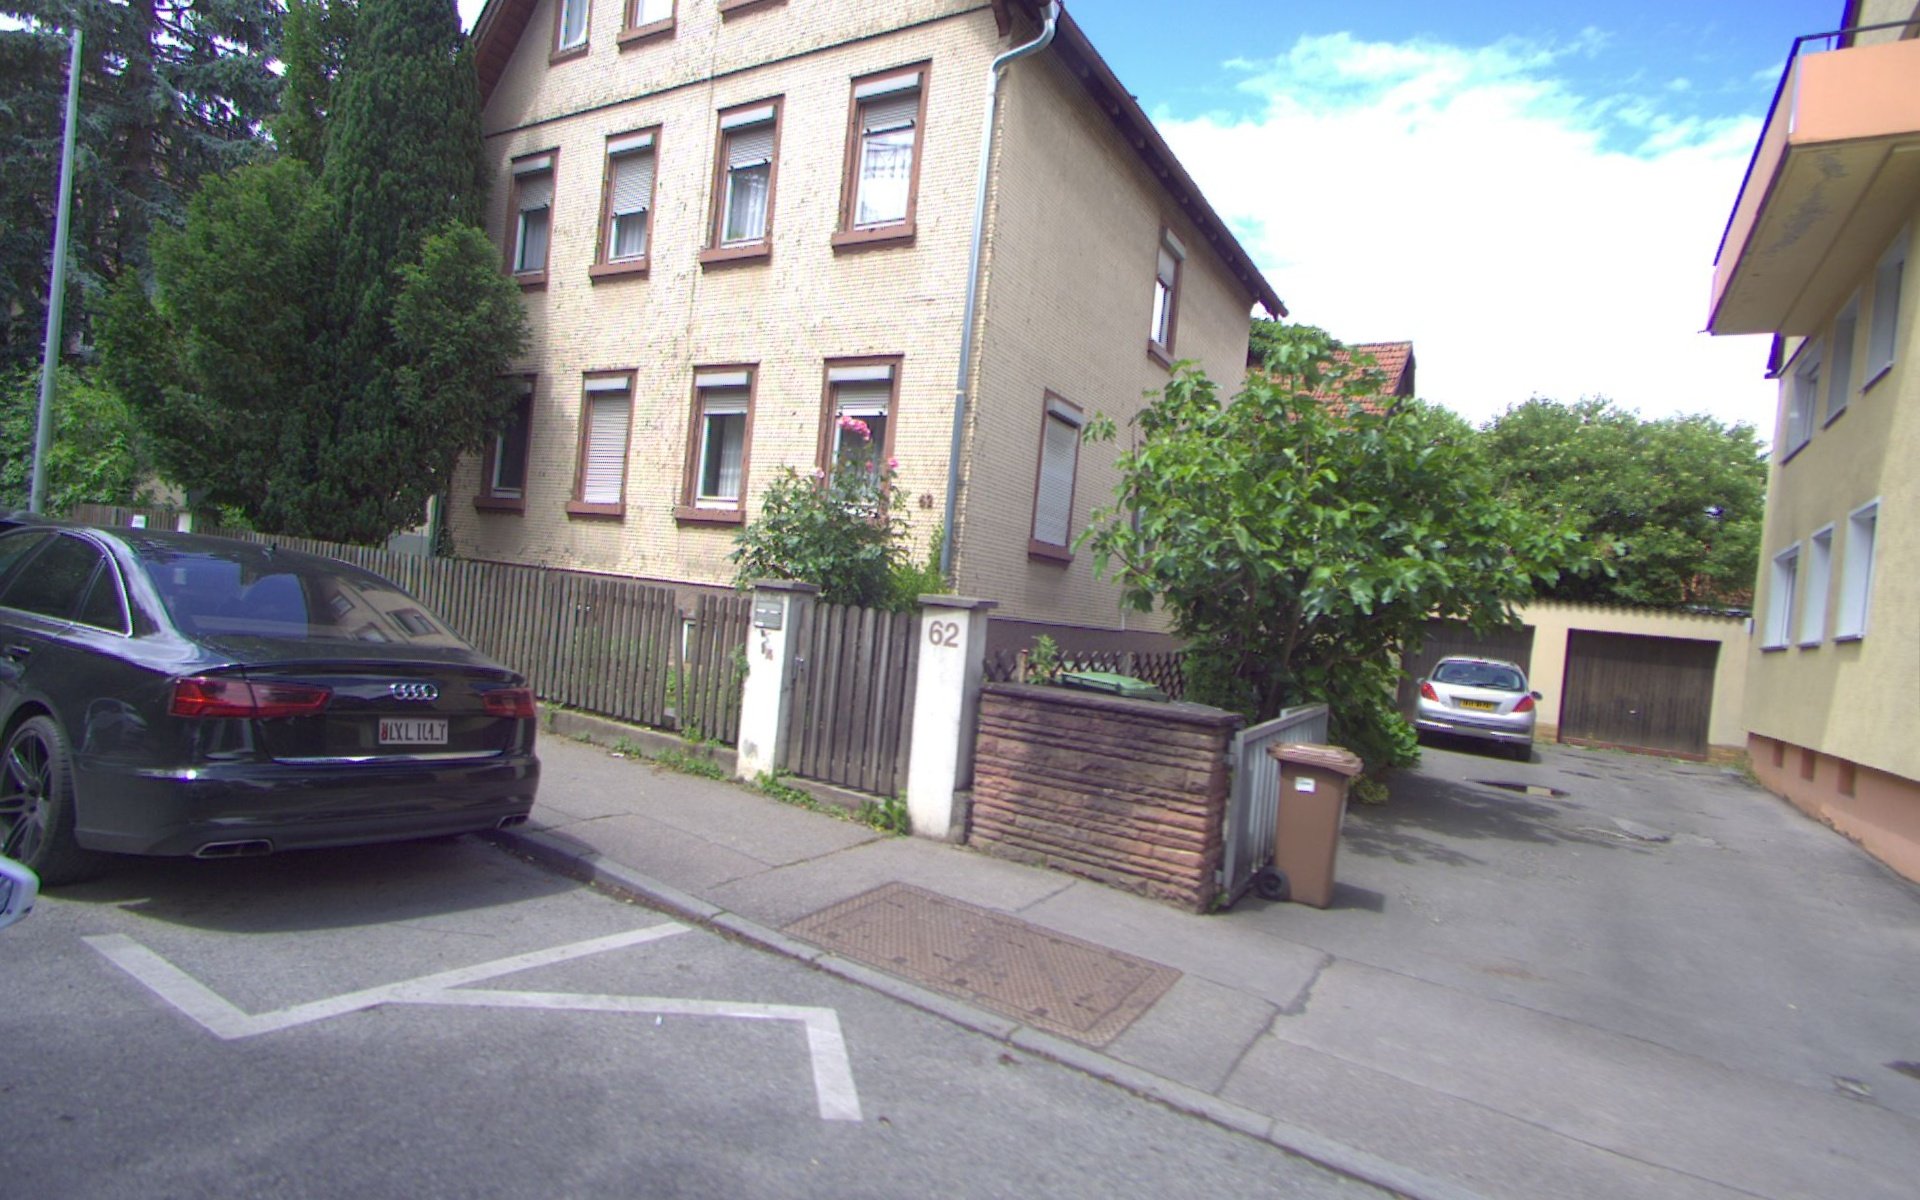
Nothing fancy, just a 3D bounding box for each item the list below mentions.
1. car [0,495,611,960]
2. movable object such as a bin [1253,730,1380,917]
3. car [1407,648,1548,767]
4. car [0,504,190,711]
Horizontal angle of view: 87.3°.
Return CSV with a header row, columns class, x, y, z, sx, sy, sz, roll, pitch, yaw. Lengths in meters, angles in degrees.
class,x,y,z,sx,sy,sz,roll,pitch,yaw
car,-4.278,0.318,5.288,4.804,1.461,1.806,6,-3,30
movable object such as a bin,2.145,1.310,6.038,0.511,0.947,0.508,9,3,31
car,8.486,1.672,16.802,1.643,1.549,3.997,6,0,23
car,-8.489,-0.140,8.181,4.432,1.434,1.829,6,-2,29
